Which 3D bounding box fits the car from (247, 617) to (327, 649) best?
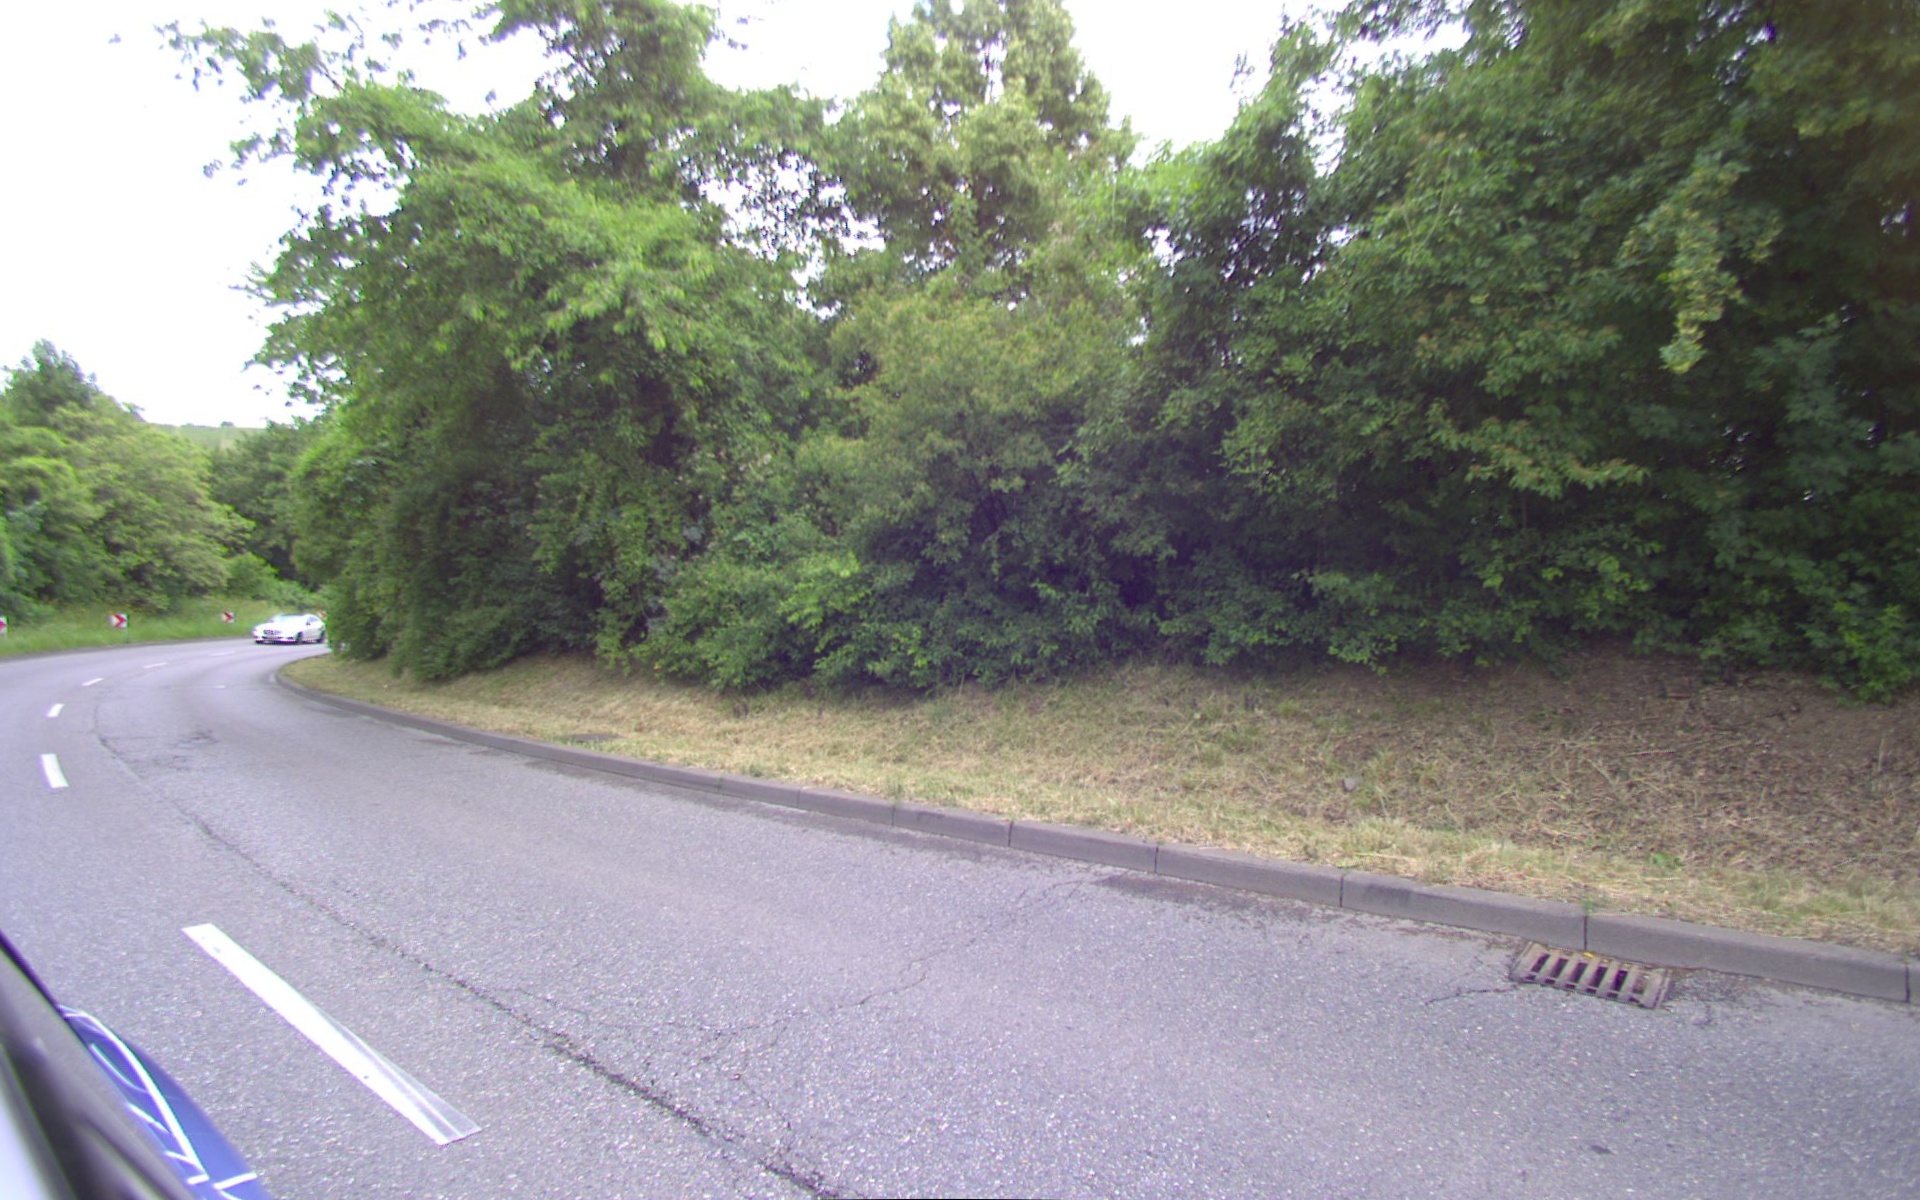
[{"bbox_3d":[-33.041,1.593,49.837,1.837,1.442,4.367,3,-2,-13],"label":"car"}]
